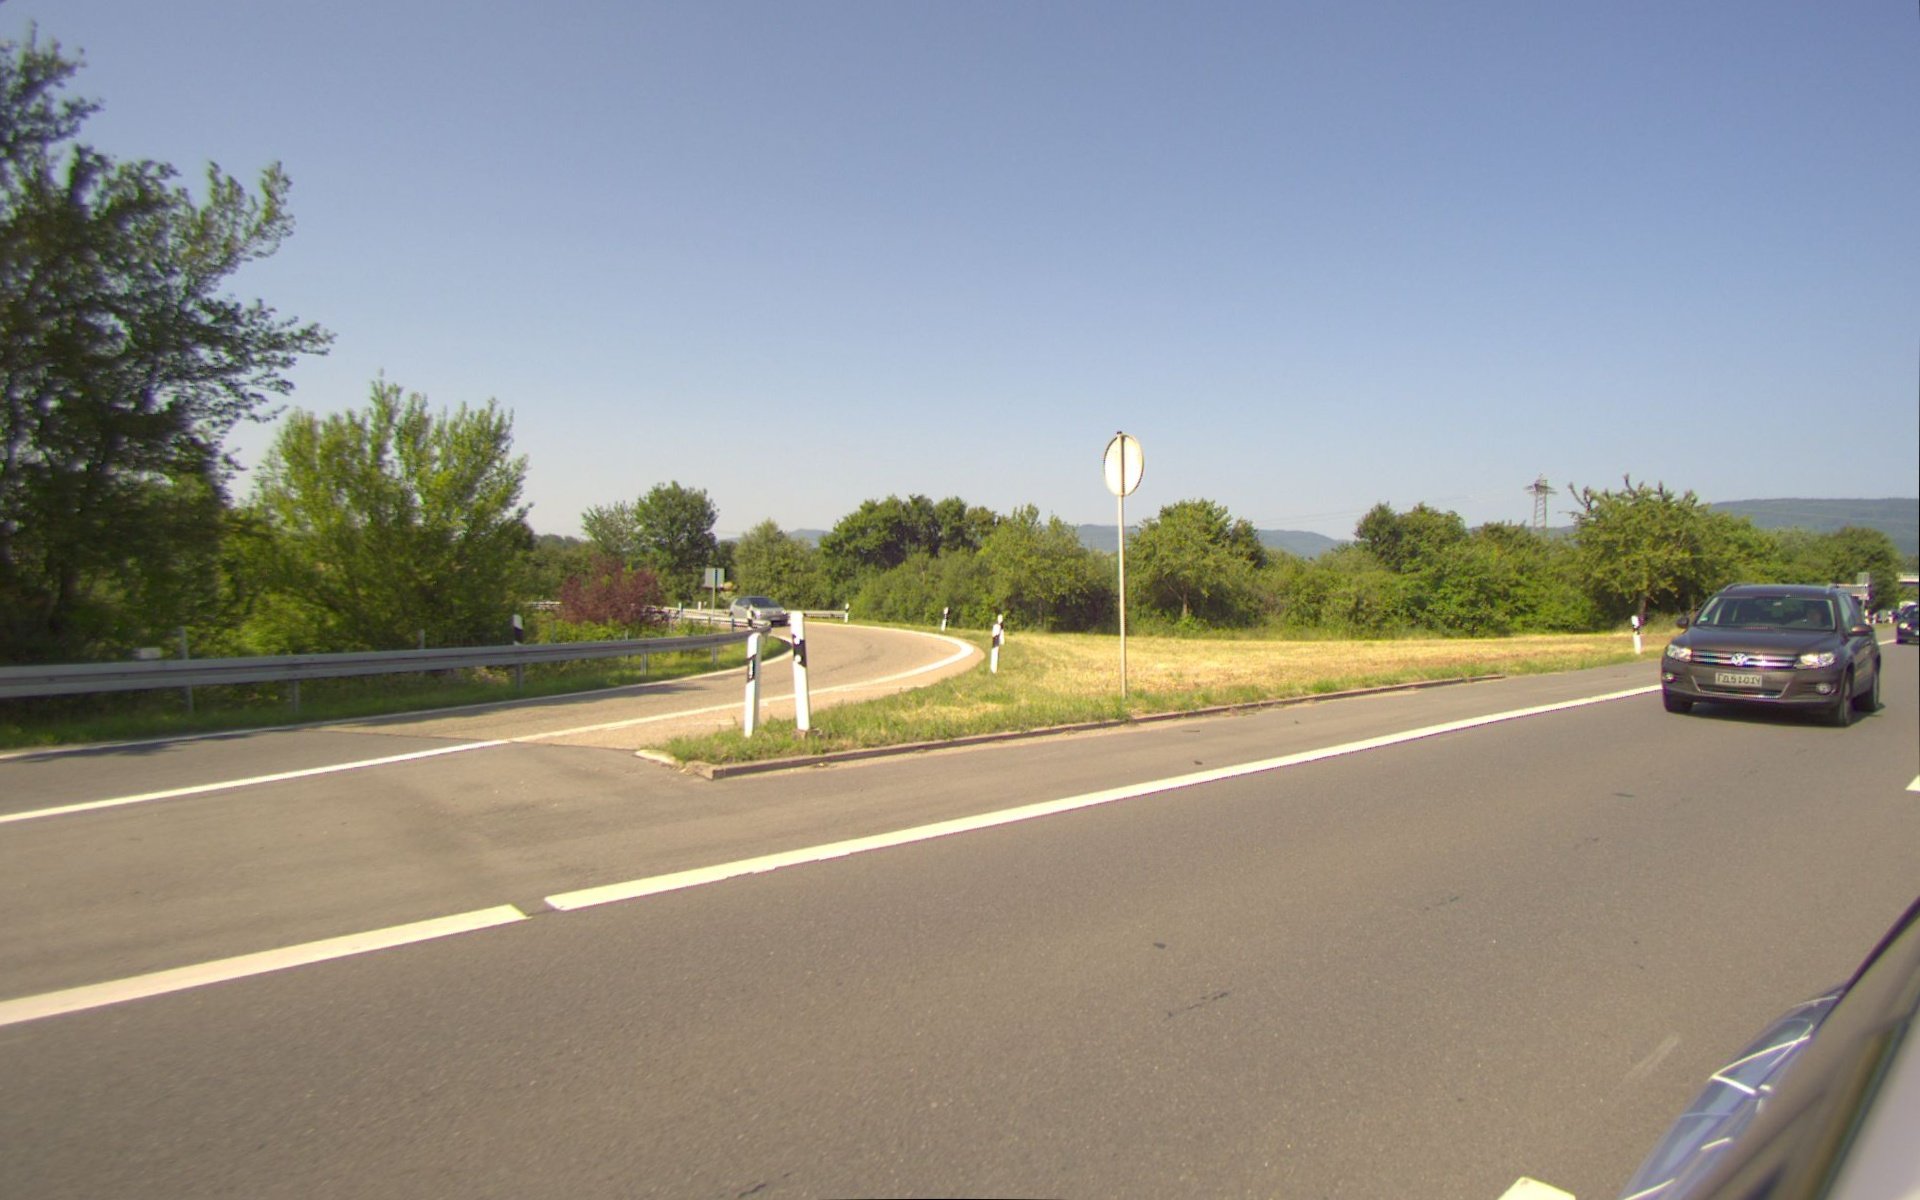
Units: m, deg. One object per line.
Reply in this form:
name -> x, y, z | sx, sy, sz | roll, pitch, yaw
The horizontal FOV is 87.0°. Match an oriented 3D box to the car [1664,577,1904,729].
car -> 10.739, 0.544, 13.095 | 4.076, 1.667, 1.788 | -1, 1, -42

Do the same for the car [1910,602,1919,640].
car -> 34.903, 0.743, 35.925 | 3.935, 1.264, 1.597 | -1, 1, -45

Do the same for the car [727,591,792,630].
car -> -10.287, 0.512, 51.685 | 1.830, 1.686, 4.002 | -3, 4, -34
